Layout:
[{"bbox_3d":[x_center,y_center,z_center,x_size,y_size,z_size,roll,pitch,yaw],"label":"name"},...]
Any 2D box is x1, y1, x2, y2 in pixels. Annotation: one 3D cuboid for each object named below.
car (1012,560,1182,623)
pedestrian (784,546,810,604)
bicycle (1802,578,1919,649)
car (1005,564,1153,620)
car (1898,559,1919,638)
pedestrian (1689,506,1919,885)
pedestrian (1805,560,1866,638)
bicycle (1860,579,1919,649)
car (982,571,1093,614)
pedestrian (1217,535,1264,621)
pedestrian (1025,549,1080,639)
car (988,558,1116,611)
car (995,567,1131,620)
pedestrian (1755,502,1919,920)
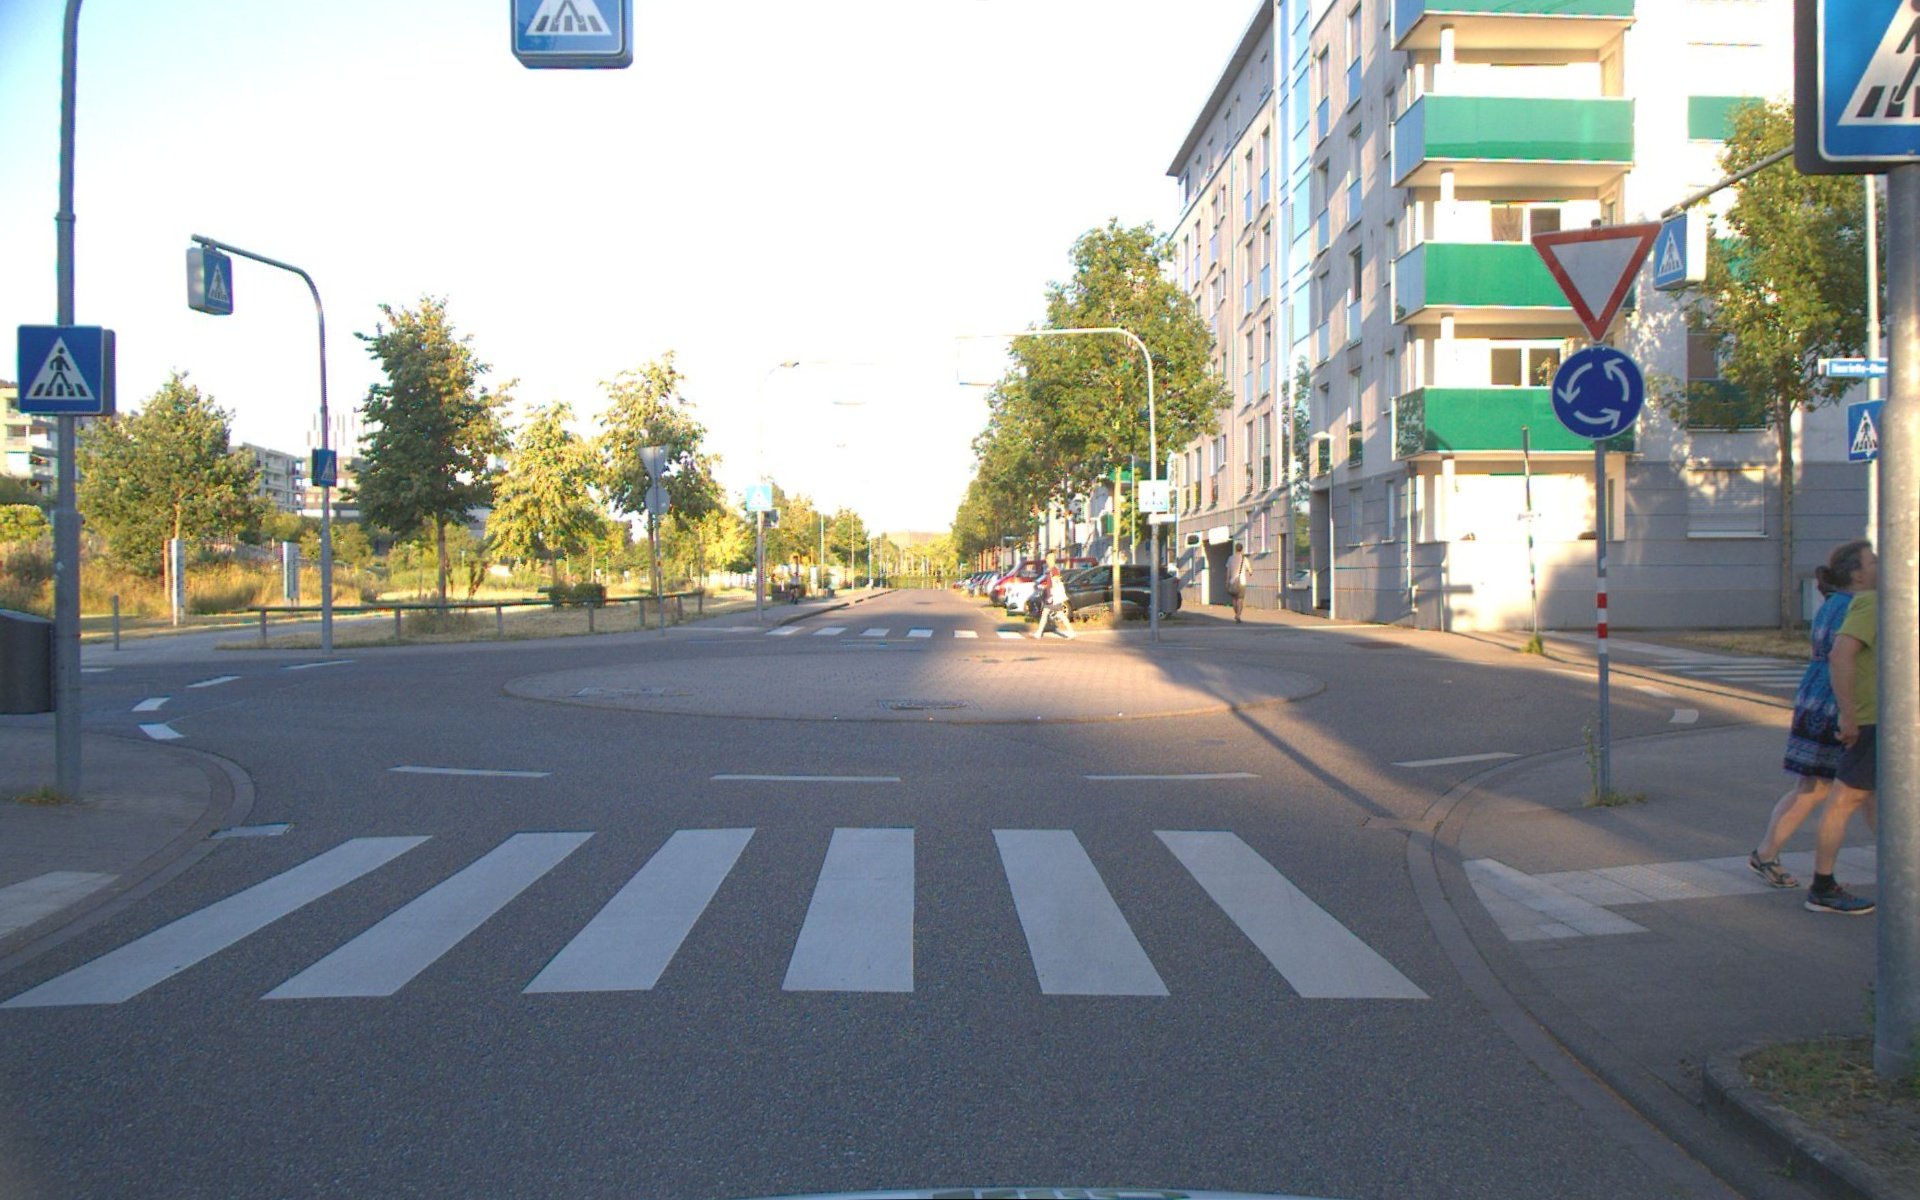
[{"bbox_3d":[3.615,-0.241,44.270,4.392,1.624,2.000,0,1,0],"label":"car"},{"bbox_3d":[-5.881,-0.902,59.659,0.851,2.049,0.787,-1,0,-12],"label":"pedestrian"},{"bbox_3d":[15.760,0.208,28.933,0.682,1.171,2.459,0,1,-4],"label":"bicycle"},{"bbox_3d":[3.504,-0.249,49.419,4.266,1.624,2.000,0,1,0],"label":"car"},{"bbox_3d":[18.939,-0.009,29.247,1.954,1.478,4.591,-1,1,-3],"label":"car"},{"bbox_3d":[4.262,0.431,8.111,0.966,1.722,0.698,-3,1,-11],"label":"pedestrian"},{"bbox_3d":[15.708,-0.024,29.690,0.644,1.379,0.802,0,1,-4],"label":"pedestrian"},{"bbox_3d":[16.576,0.233,28.473,0.674,1.171,2.520,0,1,-4],"label":"bicycle"},{"bbox_3d":[2.991,-0.302,64.358,4.177,1.624,1.999,-1,1,-2],"label":"car"},{"bbox_3d":[6.761,-0.522,39.948,0.922,2.049,0.848,-1,0,-5],"label":"pedestrian"},{"bbox_3d":[1.896,-0.120,34.089,0.984,1.819,0.761,1,0,-8],"label":"pedestrian"},{"bbox_3d":[3.720,-0.655,67.452,4.906,2.081,2.248,-1,1,-6],"label":"car"},{"bbox_3d":[3.213,-0.211,52.148,4.176,1.624,2.000,0,1,0],"label":"car"},{"bbox_3d":[4.088,0.456,7.191,0.999,1.722,0.758,-4,-1,29],"label":"pedestrian"}]
